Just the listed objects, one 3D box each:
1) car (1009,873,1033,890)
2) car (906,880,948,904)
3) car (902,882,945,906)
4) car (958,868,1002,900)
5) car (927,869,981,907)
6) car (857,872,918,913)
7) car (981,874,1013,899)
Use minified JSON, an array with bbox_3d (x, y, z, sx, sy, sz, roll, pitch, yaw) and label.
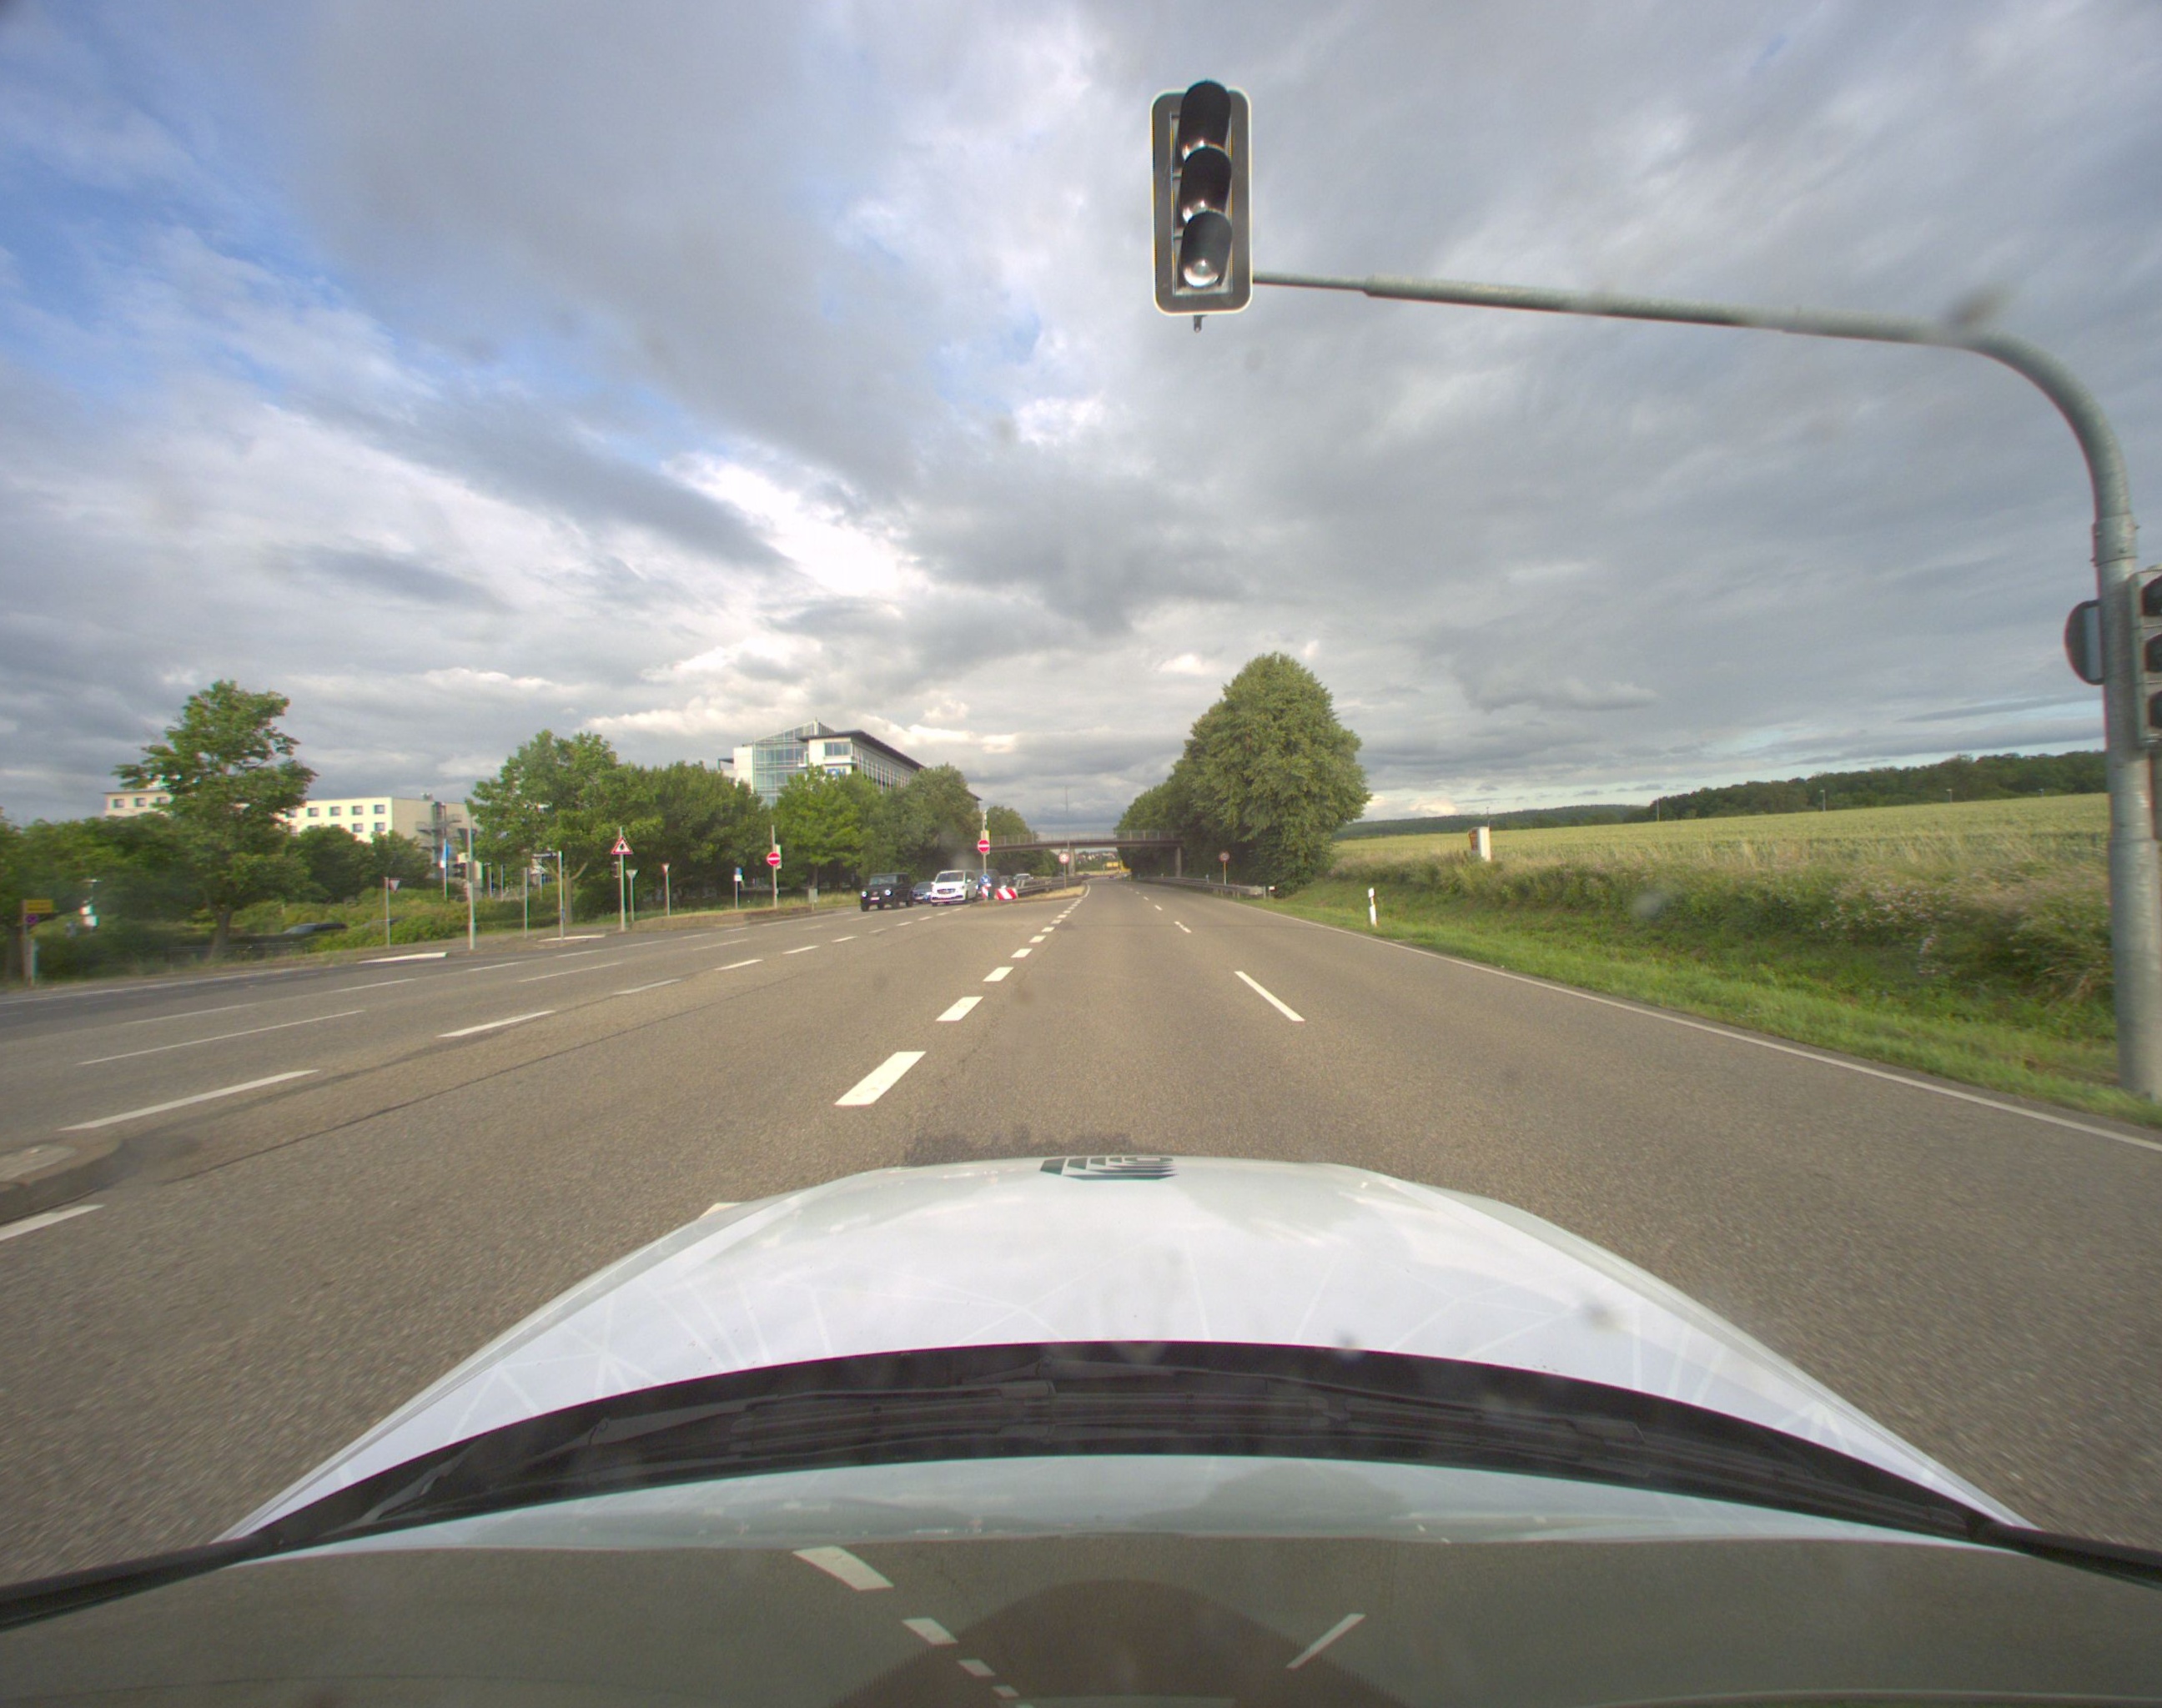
[{"bbox_3d":[-5.980,2.737,81.333,1.816,1.584,4.791,-3,-1,1],"label":"car"},{"bbox_3d":[-9.820,2.414,52.061,1.641,1.388,4.188,-3,-2,3],"label":"car"},{"bbox_3d":[-9.993,2.503,51.933,1.715,1.240,4.001,-5,-1,1],"label":"car"},{"bbox_3d":[-6.467,1.904,52.654,1.891,1.917,5.053,-2,-2,3],"label":"car"},{"bbox_3d":[-6.962,1.837,45.251,1.927,1.872,5.348,-3,-2,1],"label":"car"},{"bbox_3d":[-10.611,2.074,45.073,1.927,1.990,5.092,-3,-2,1],"label":"car"},{"bbox_3d":[-6.187,2.387,60.520,1.707,1.589,4.555,-6,-1,1],"label":"car"}]
